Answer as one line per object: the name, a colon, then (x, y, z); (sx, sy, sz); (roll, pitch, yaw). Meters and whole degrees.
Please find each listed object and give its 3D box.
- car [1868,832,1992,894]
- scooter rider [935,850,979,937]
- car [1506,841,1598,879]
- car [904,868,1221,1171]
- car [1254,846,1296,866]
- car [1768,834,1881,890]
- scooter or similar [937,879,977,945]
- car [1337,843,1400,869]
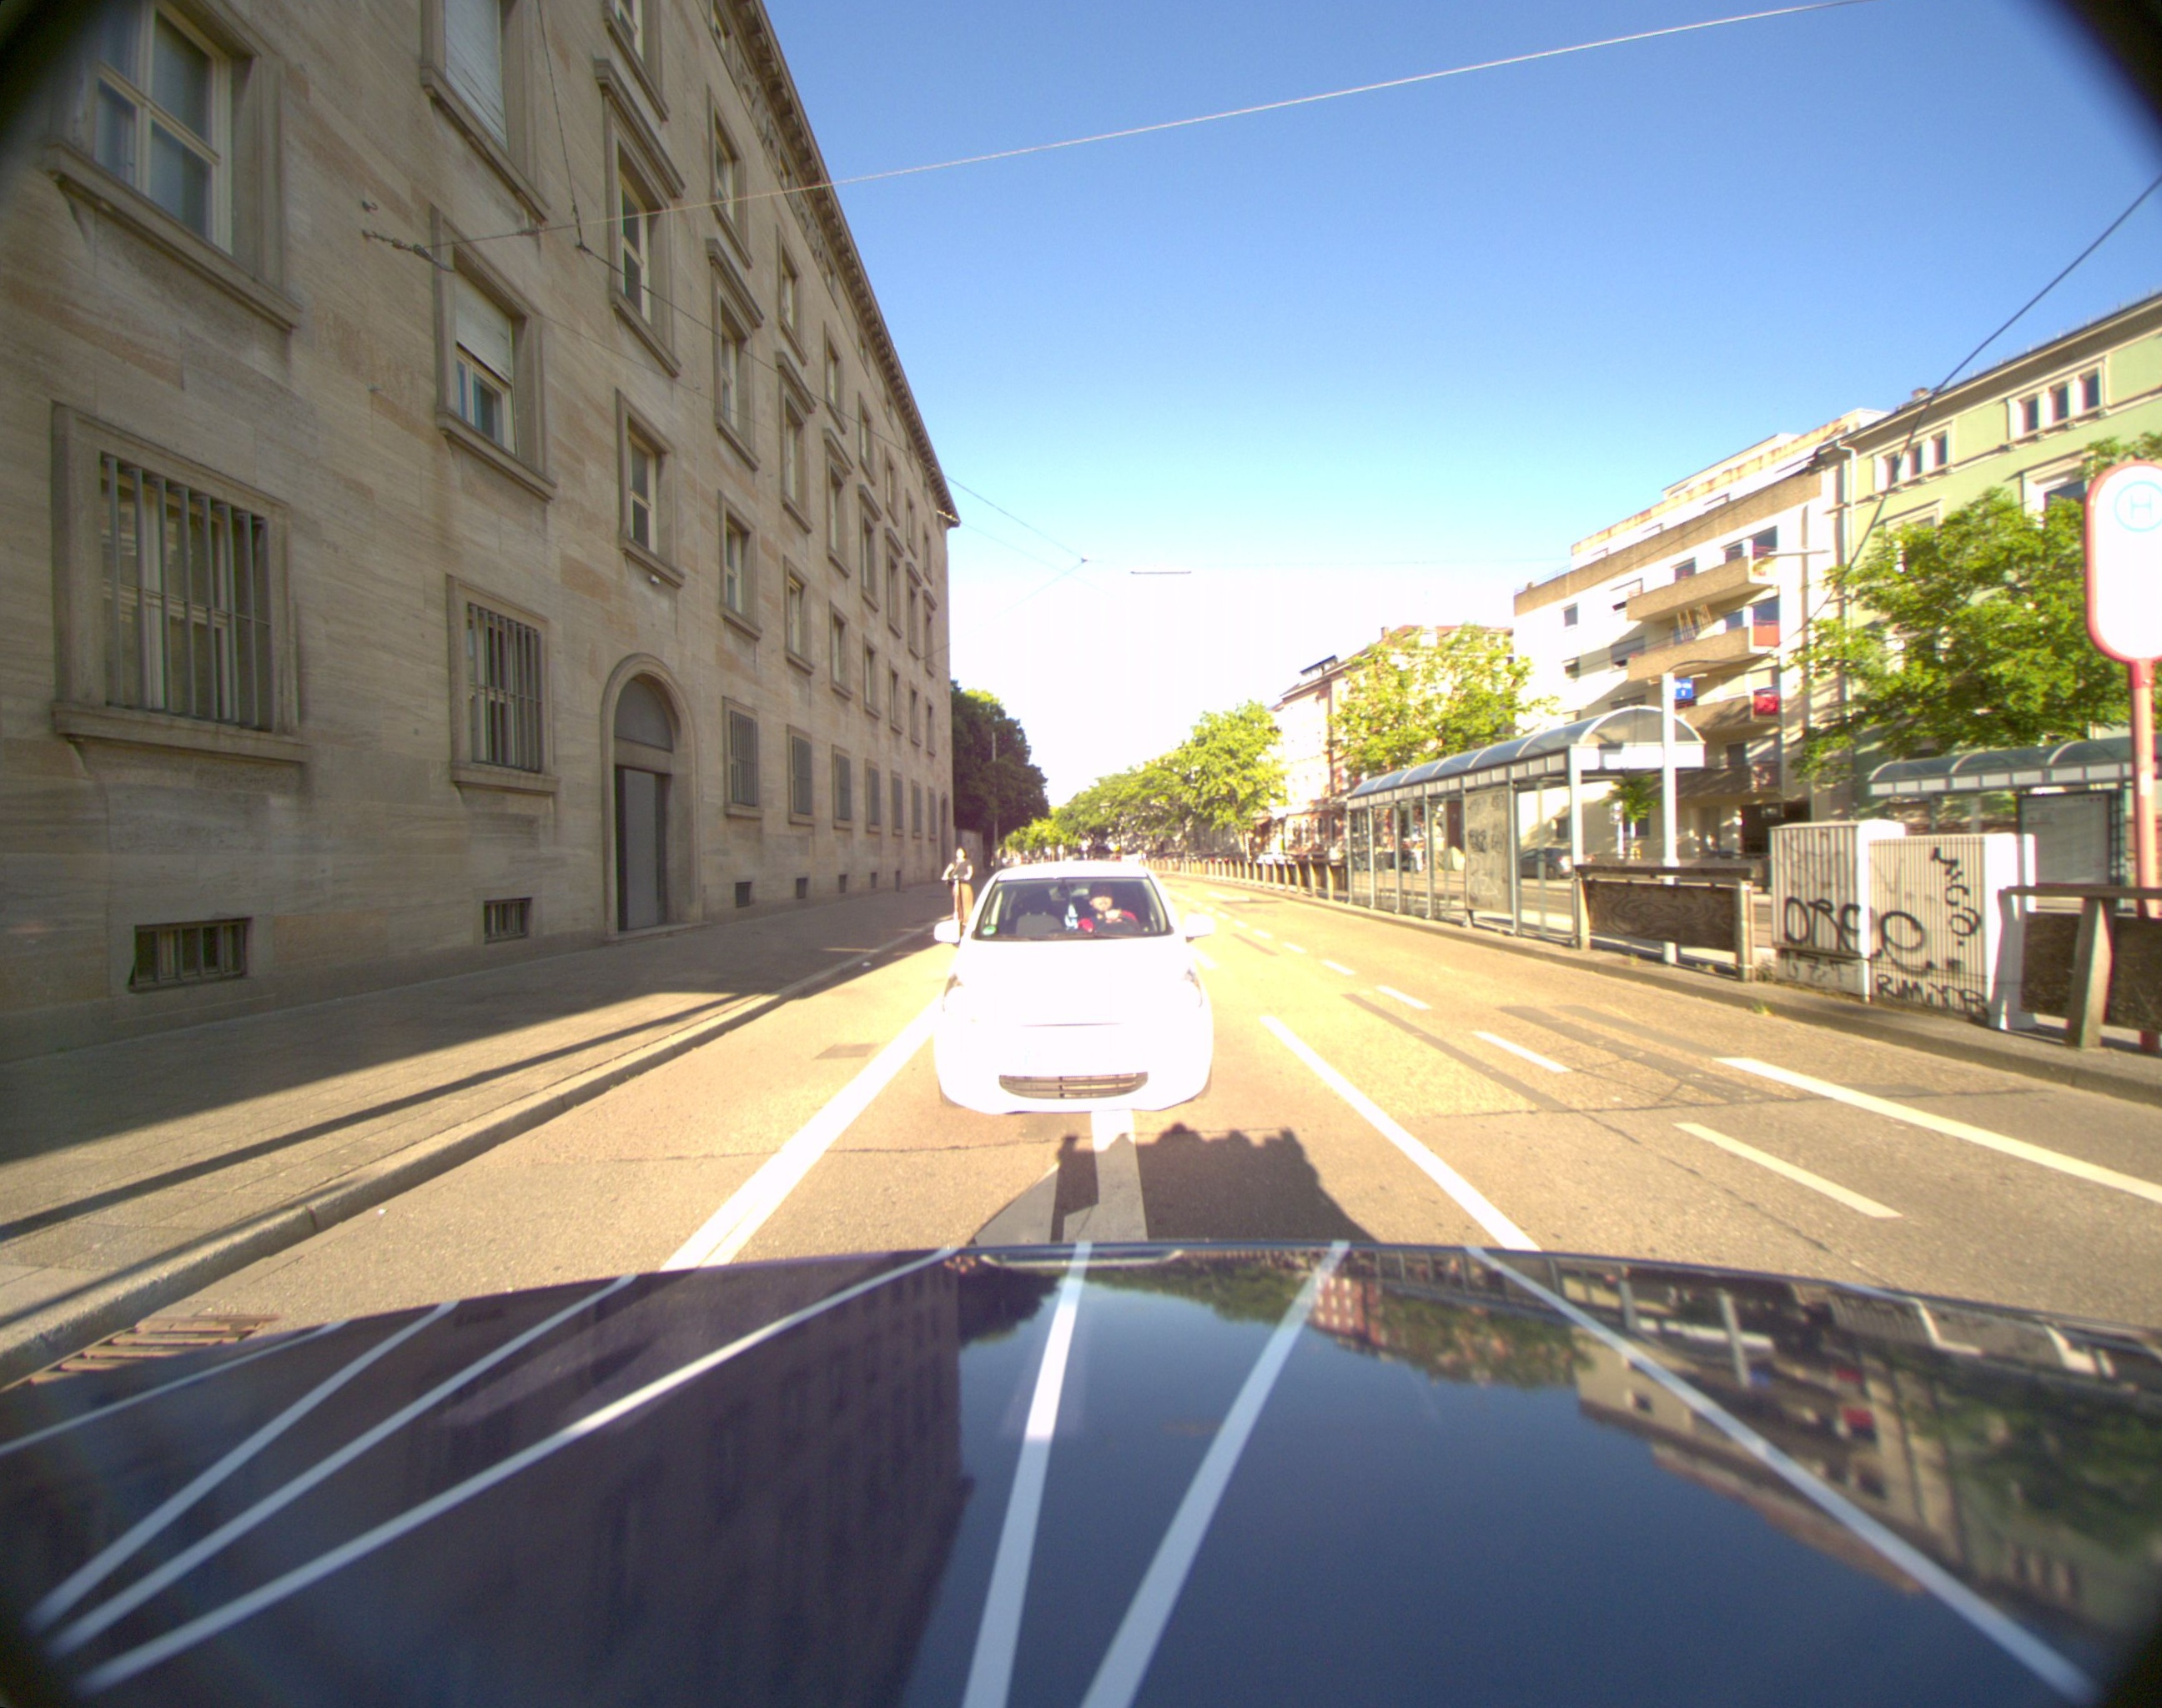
car: (24.463, 0.231, 21.884); (3.605, 1.558, 1.627); (-3, 1, -29)
scooter rider: (-2.411, 0.756, 14.824); (0.731, 1.661, 0.556); (-1, 1, -1)
car: (20.915, 0.232, 33.926); (1.631, 1.558, 3.598); (-2, 1, -5)
car: (-0.074, 0.908, 5.802); (1.612, 1.462, 3.631); (-2, 0, 1)
car: (16.258, 0.156, 63.470); (3.607, 1.558, 1.627); (-3, 1, -42)
car: (23.884, 0.225, 24.396); (3.605, 1.558, 1.627); (-3, 1, -29)
scooter or similar: (-2.404, 1.103, 14.805); (0.536, 1.178, 1.328); (-1, 0, 0)
car: (19.544, 0.125, 51.716); (3.599, 1.558, 1.630); (-2, 1, -7)
